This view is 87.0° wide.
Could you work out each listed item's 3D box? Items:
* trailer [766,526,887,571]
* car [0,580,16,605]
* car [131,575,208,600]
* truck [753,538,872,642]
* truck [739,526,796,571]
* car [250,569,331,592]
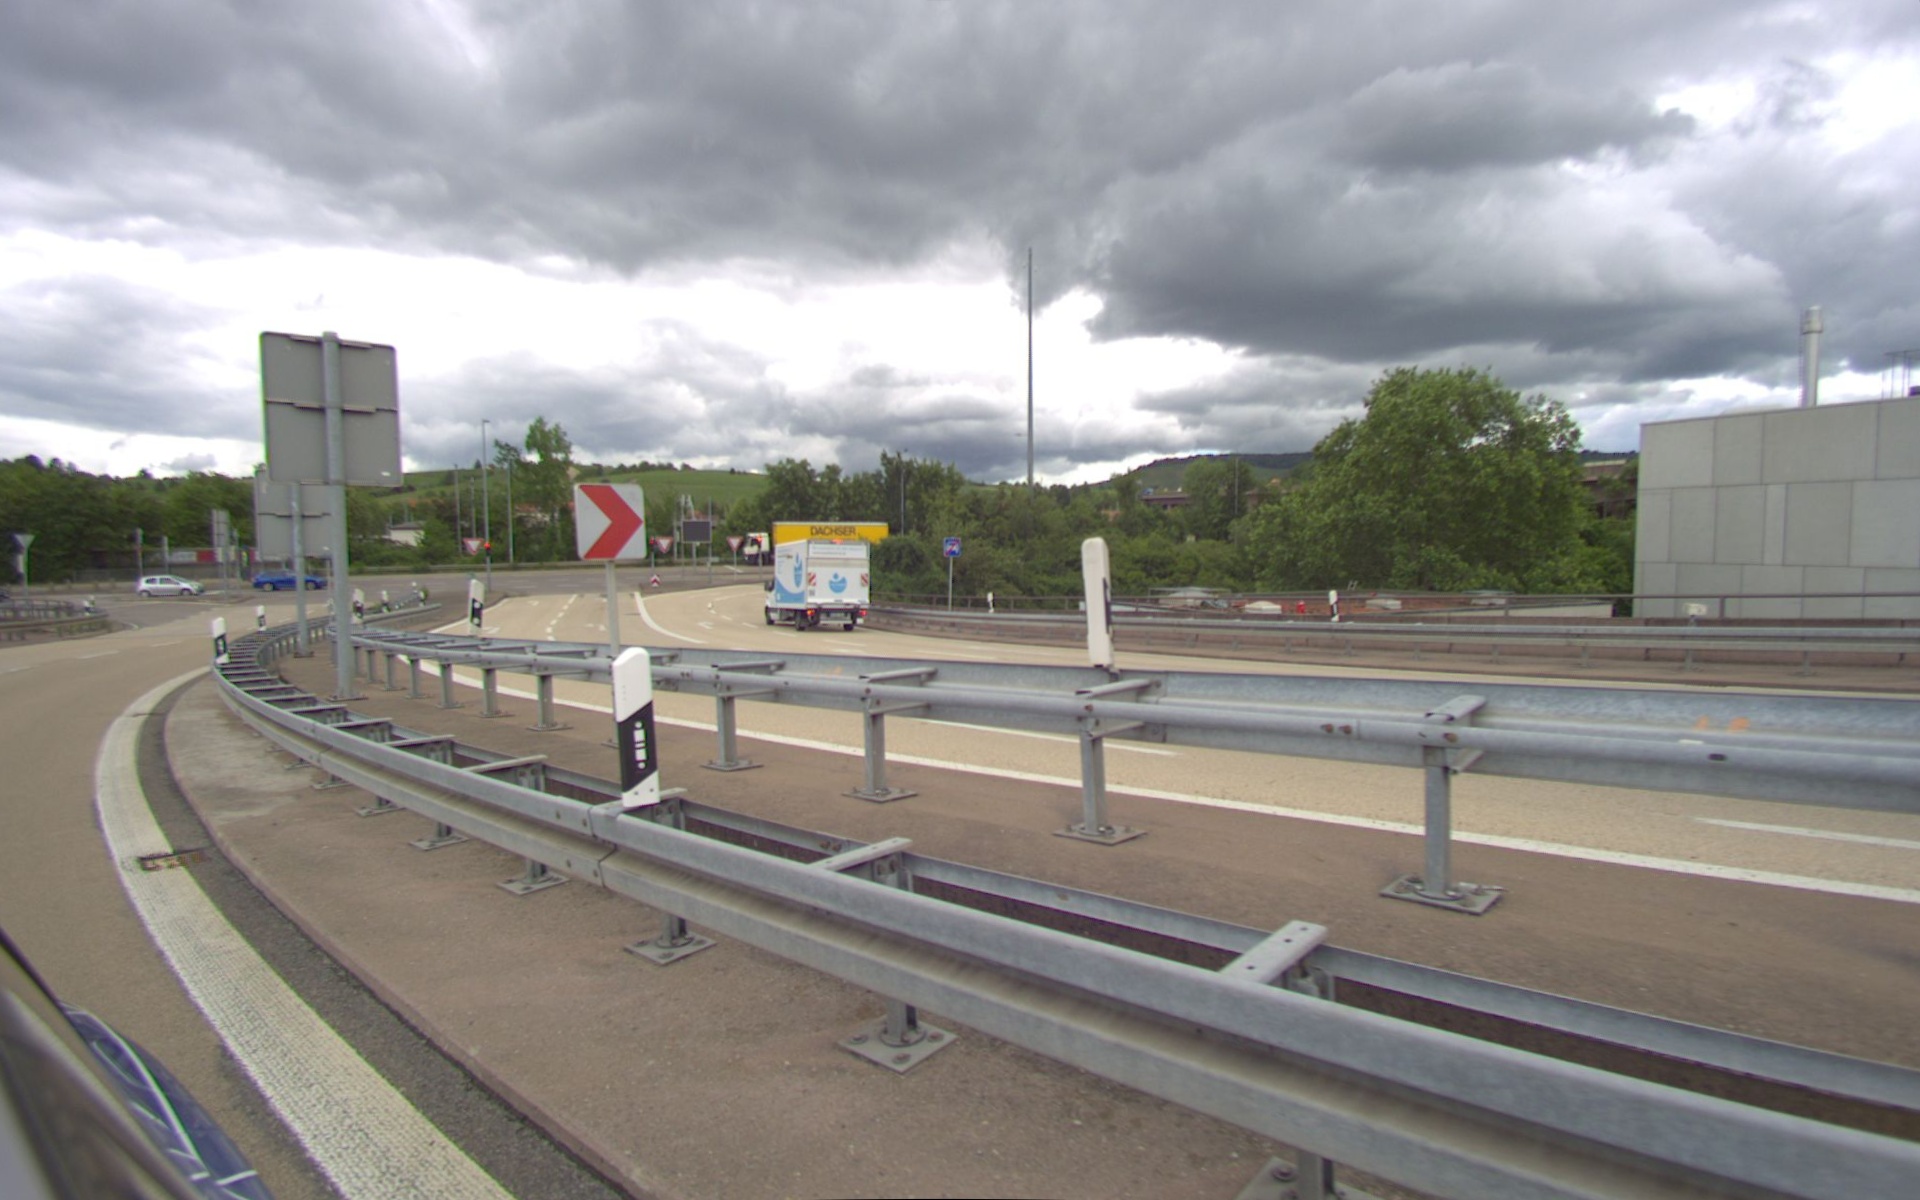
[{"bbox_3d":[-13.098,-5.153,99.690,11.457,4.234,2.644,-2,4,-18],"label":"trailer"},{"bbox_3d":[-64.536,-0.399,65.729,4.221,1.567,1.955,-3,5,-19],"label":"car"},{"bbox_3d":[-53.262,-0.848,68.256,3.685,1.384,1.634,-3,5,-18],"label":"car"},{"bbox_3d":[-5.401,-0.527,36.007,2.312,3.287,7.019,-2,4,-24],"label":"truck"},{"bbox_3d":[-18.614,-5.034,97.937,5.015,4.234,2.644,-2,4,-18],"label":"truck"},{"bbox_3d":[-48.105,-1.418,72.802,4.465,1.464,1.615,-2,5,-17],"label":"car"}]
